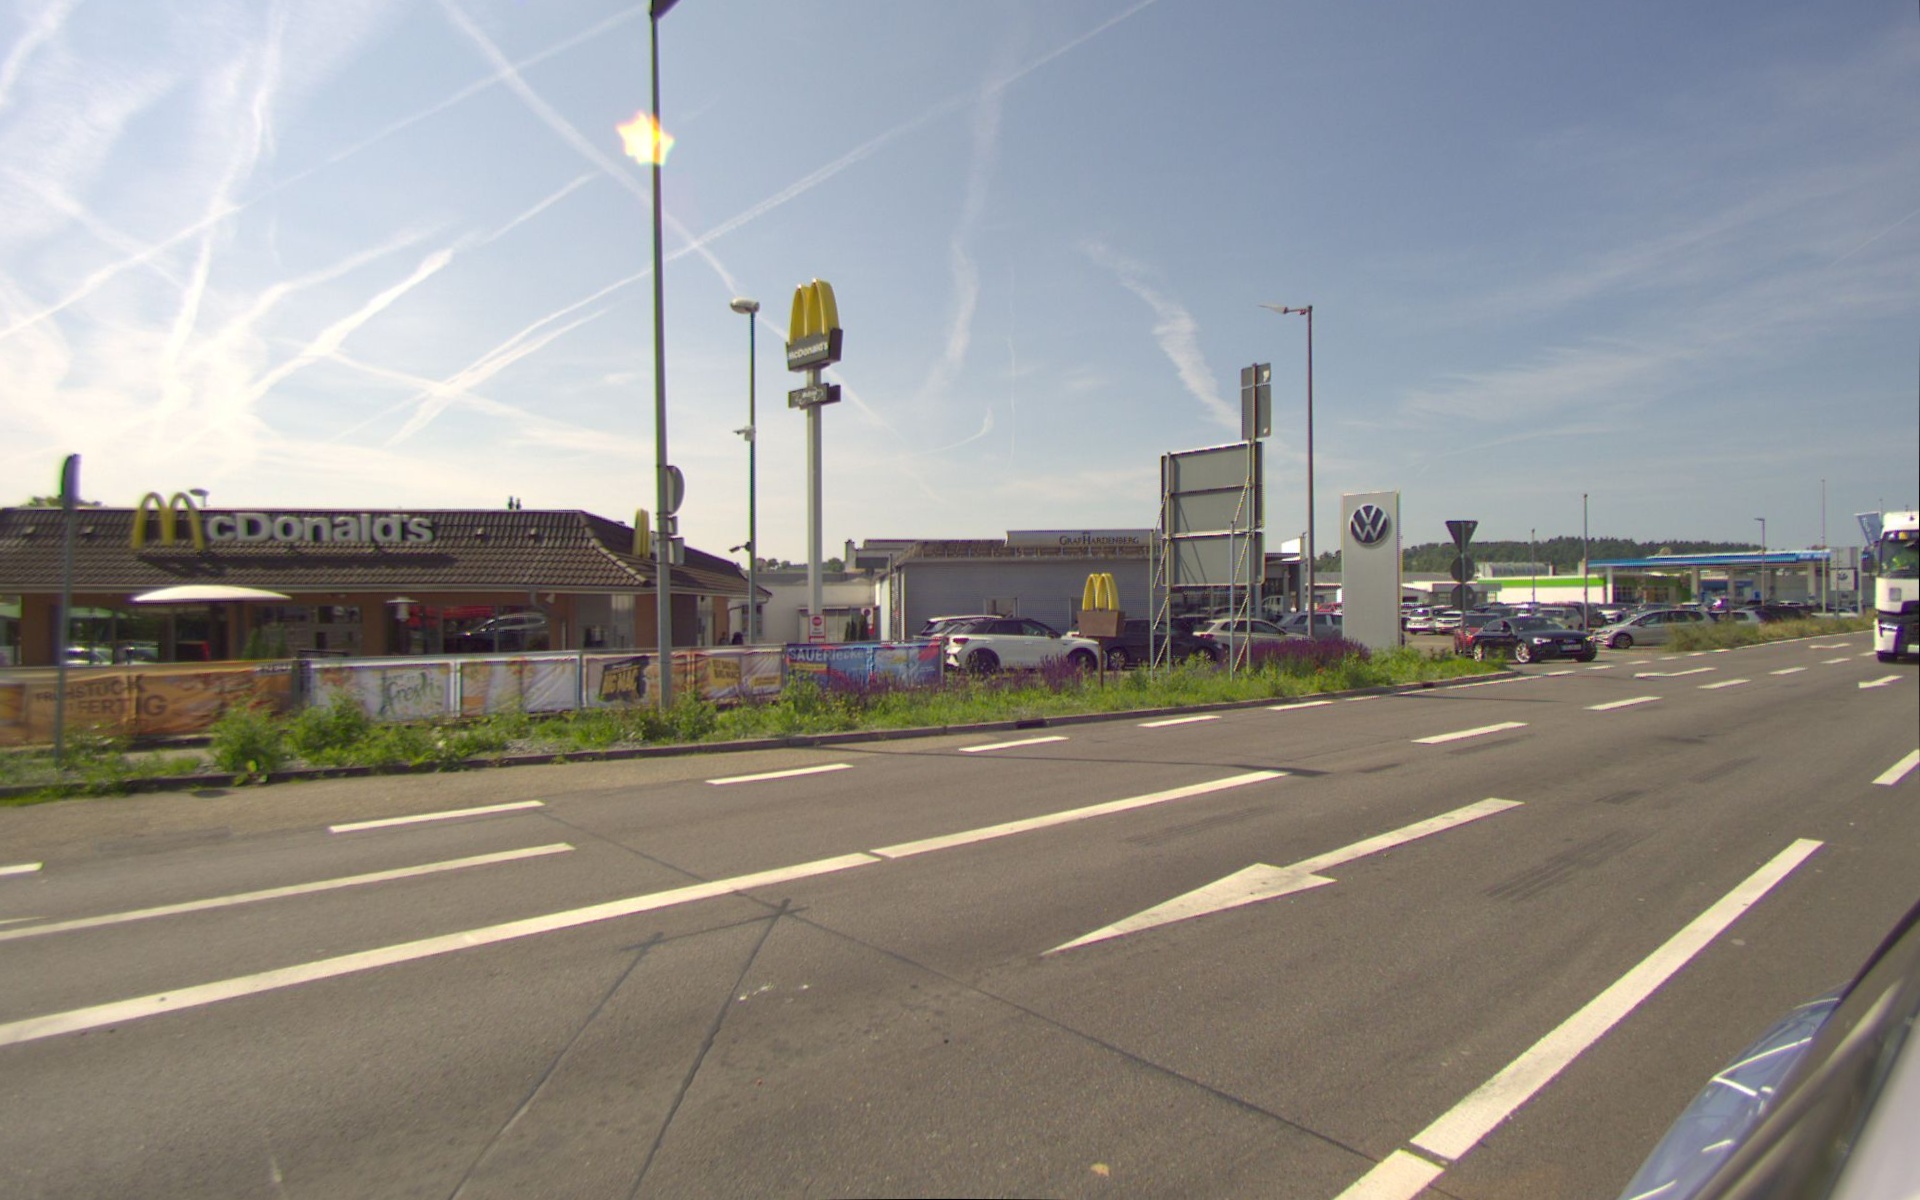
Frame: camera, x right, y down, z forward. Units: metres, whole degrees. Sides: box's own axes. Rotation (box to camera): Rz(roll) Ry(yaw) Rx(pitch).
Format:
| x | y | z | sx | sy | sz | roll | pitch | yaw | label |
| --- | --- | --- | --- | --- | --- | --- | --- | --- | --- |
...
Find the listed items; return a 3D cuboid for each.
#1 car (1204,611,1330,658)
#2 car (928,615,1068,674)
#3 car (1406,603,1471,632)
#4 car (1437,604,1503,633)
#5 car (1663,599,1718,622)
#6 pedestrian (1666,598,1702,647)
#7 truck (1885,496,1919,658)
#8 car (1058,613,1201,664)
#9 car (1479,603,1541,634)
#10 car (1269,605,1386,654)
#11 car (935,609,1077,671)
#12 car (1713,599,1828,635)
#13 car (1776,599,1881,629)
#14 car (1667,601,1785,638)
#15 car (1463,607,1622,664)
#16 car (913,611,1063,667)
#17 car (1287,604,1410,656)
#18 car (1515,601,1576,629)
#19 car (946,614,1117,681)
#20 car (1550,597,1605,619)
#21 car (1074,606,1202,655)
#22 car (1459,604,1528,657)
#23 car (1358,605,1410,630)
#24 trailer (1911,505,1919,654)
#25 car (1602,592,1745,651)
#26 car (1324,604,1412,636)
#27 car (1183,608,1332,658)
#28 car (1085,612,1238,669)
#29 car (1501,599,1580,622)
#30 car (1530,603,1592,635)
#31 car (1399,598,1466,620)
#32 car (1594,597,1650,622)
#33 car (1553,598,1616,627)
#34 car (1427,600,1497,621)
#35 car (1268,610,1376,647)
| x | y | z | sx | sy | sz | roll | pitch | yaw | label |
| --- | --- | --- | --- | --- | --- | --- | --- | --- | --- |
| 10.433 | 1.164 | 34.518 | 3.720 | 1.495 | 1.752 | 0 | 0 | -4 | car |
| 1.109 | 1.325 | 30.870 | 4.087 | 1.692 | 1.778 | 0 | 0 | -4 | car |
| 30.816 | 1.085 | 65.128 | 4.452 | 1.751 | 1.823 | 0 | 0 | -35 | car |
| 31.438 | 1.127 | 62.337 | 4.452 | 1.675 | 1.776 | 0 | 1 | -36 | car |
| 52.010 | 0.722 | 72.031 | 4.452 | 1.600 | 1.776 | 0 | 1 | -35 | car |
| 29.486 | 0.908 | 41.218 | 0.975 | 1.936 | 0.740 | 0 | 0 | 16 | pedestrian |
| 26.507 | -0.571 | 26.627 | 5.938 | 4.037 | 2.644 | 0 | 0 | -42 | truck |
| 5.268 | 1.185 | 31.684 | 4.072 | 1.468 | 1.798 | 0 | 0 | -4 | car |
| 32.052 | 1.034 | 58.942 | 4.463 | 1.675 | 1.964 | 0 | 1 | -44 | car |
| 13.805 | 1.077 | 38.231 | 3.939 | 1.692 | 1.913 | 1 | 0 | 13 | car |
| 1.267 | 1.120 | 28.929 | 3.832 | 1.692 | 1.778 | 0 | 0 | -4 | car |
| 39.592 | 0.805 | 49.534 | 3.946 | 1.675 | 1.766 | 1 | 0 | 18 | car |
| 52.823 | 0.822 | 61.680 | 4.488 | 1.675 | 1.762 | 1 | 0 | 24 | car |
| 34.848 | 0.871 | 46.177 | 3.953 | 1.578 | 1.700 | 1 | 0 | 22 | car |
| 16.490 | 1.040 | 29.007 | 1.931 | 1.350 | 4.808 | -4 | -3 | 4 | car |
| 0.865 | 1.259 | 33.204 | 4.722 | 1.692 | 1.914 | 0 | 0 | -4 | car |
| 13.673 | 1.023 | 35.835 | 3.974 | 1.692 | 1.765 | 1 | 0 | 20 | car |
| 36.512 | 0.886 | 63.047 | 4.351 | 1.675 | 1.775 | 0 | 1 | -37 | car |
| 1.793 | 1.211 | 26.283 | 4.149 | 1.596 | 1.863 | 0 | 0 | -4 | car |
| 47.920 | 0.590 | 78.507 | 4.448 | 1.675 | 1.777 | 0 | 0 | -32 | car |
| 5.918 | 0.996 | 33.880 | 3.881 | 1.537 | 1.778 | 0 | 0 | -4 | car |
| 18.400 | 1.025 | 35.068 | 1.756 | 1.675 | 4.044 | -2 | 0 | 24 | car |
| 29.695 | 1.211 | 70.770 | 4.463 | 1.675 | 1.771 | 0 | 1 | -44 | car |
| 32.533 | -0.584 | 32.067 | 11.098 | 4.281 | 2.610 | 0 | 0 | -42 | trailer |
| 28.307 | 0.813 | 40.324 | 4.295 | 2.241 | 1.752 | 1 | 0 | 21 | car |
| 21.517 | 1.053 | 53.492 | 4.008 | 1.629 | 1.690 | 1 | -1 | 8 | car |
| 9.432 | 1.043 | 32.281 | 4.179 | 1.510 | 1.751 | 0 | 0 | -4 | car |
| 5.802 | 1.151 | 29.402 | 4.008 | 1.551 | 1.778 | 0 | 0 | -4 | car |
| 41.188 | 0.726 | 71.922 | 1.910 | 1.477 | 4.544 | 0 | 1 | -29 | car |
| 33.911 | 1.051 | 57.067 | 4.633 | 1.675 | 1.904 | 0 | 1 | -44 | car |
| 34.608 | 0.641 | 74.160 | 4.442 | 1.603 | 1.827 | 0 | 0 | -19 | car |
| 46.422 | 0.664 | 70.937 | 4.452 | 1.675 | 1.776 | 0 | 1 | -35 | car |
| 37.766 | 0.705 | 61.119 | 4.454 | 1.675 | 1.775 | 0 | 1 | -37 | car |
| 35.628 | 0.715 | 71.832 | 4.390 | 1.449 | 1.827 | 0 | 0 | -19 | car |
| 15.337 | 1.197 | 43.048 | 4.046 | 1.428 | 1.819 | 1 | 0 | 9 | car |
